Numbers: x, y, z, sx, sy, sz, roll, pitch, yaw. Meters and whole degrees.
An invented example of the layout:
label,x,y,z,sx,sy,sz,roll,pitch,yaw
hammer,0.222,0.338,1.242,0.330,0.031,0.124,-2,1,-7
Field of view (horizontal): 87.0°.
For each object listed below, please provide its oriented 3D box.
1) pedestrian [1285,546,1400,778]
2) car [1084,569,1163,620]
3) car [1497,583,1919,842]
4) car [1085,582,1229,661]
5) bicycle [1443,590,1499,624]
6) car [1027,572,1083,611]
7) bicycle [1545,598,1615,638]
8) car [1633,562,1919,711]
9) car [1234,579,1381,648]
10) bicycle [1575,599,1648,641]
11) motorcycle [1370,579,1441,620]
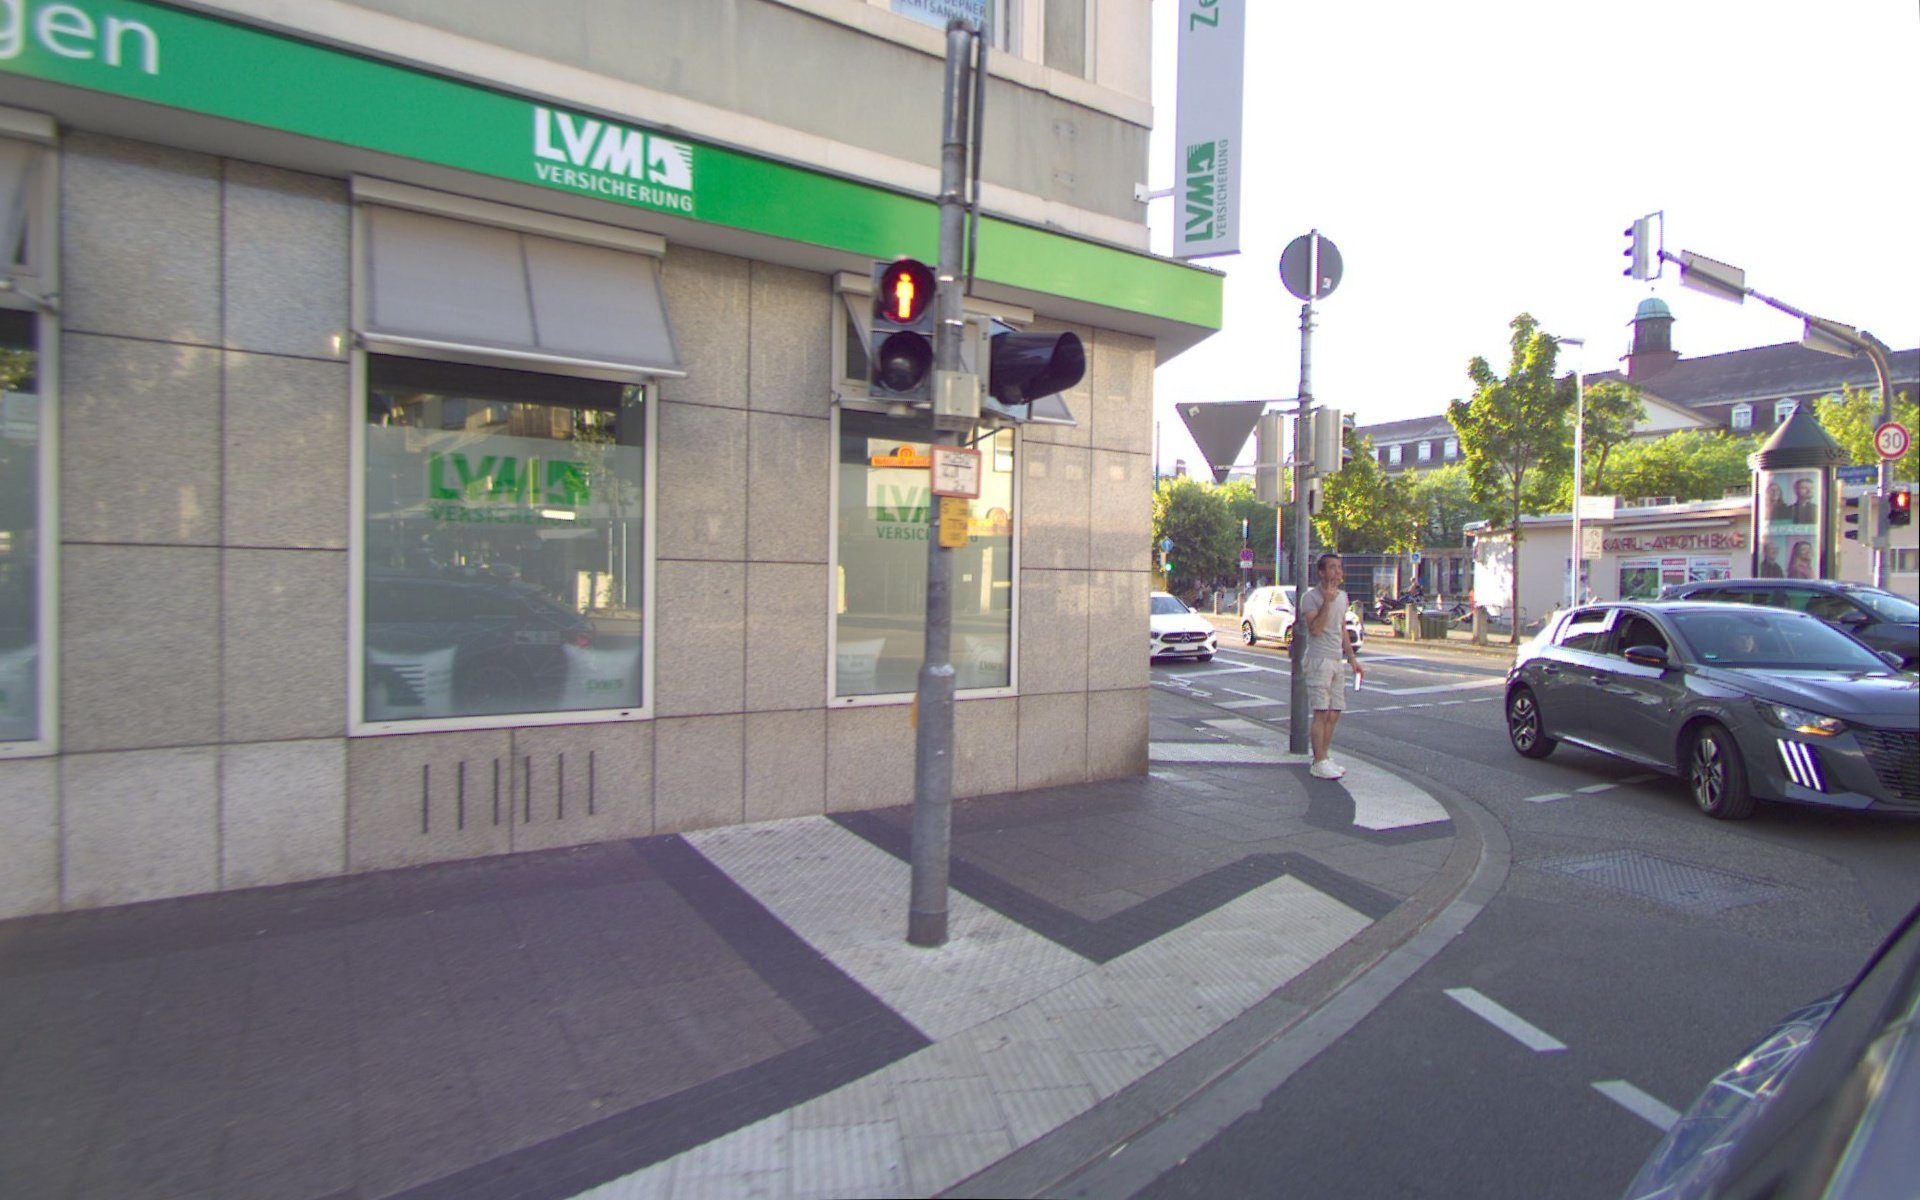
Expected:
label,x,y,z,sx,sy,sz,roll,pitch,yaw
pedestrian,3.027,0.464,8.060,0.642,1.764,0.694,1,1,3
car,6.105,-0.242,38.268,1.791,1.762,3.992,2,1,-8
car,5.943,0.628,7.794,1.721,1.461,3.902,-1,1,4
car,4.155,0.383,21.990,1.791,1.490,3.992,-1,1,-9
bicycle,17.198,0.224,34.071,1.774,1.116,0.396,1,1,-9
car,4.593,-0.459,49.422,1.791,1.762,3.992,2,1,-8
bicycle,18.025,0.525,29.416,1.834,1.128,0.449,1,1,-8
car,11.372,0.396,12.942,1.791,1.719,4.267,0,1,-26
car,8.216,0.263,24.315,1.684,1.490,3.992,0,1,-8
bicycle,18.350,0.567,28.511,1.834,1.128,0.449,1,1,-8
motorcycle,16.384,-0.032,37.240,2.351,1.464,0.702,1,1,-9
